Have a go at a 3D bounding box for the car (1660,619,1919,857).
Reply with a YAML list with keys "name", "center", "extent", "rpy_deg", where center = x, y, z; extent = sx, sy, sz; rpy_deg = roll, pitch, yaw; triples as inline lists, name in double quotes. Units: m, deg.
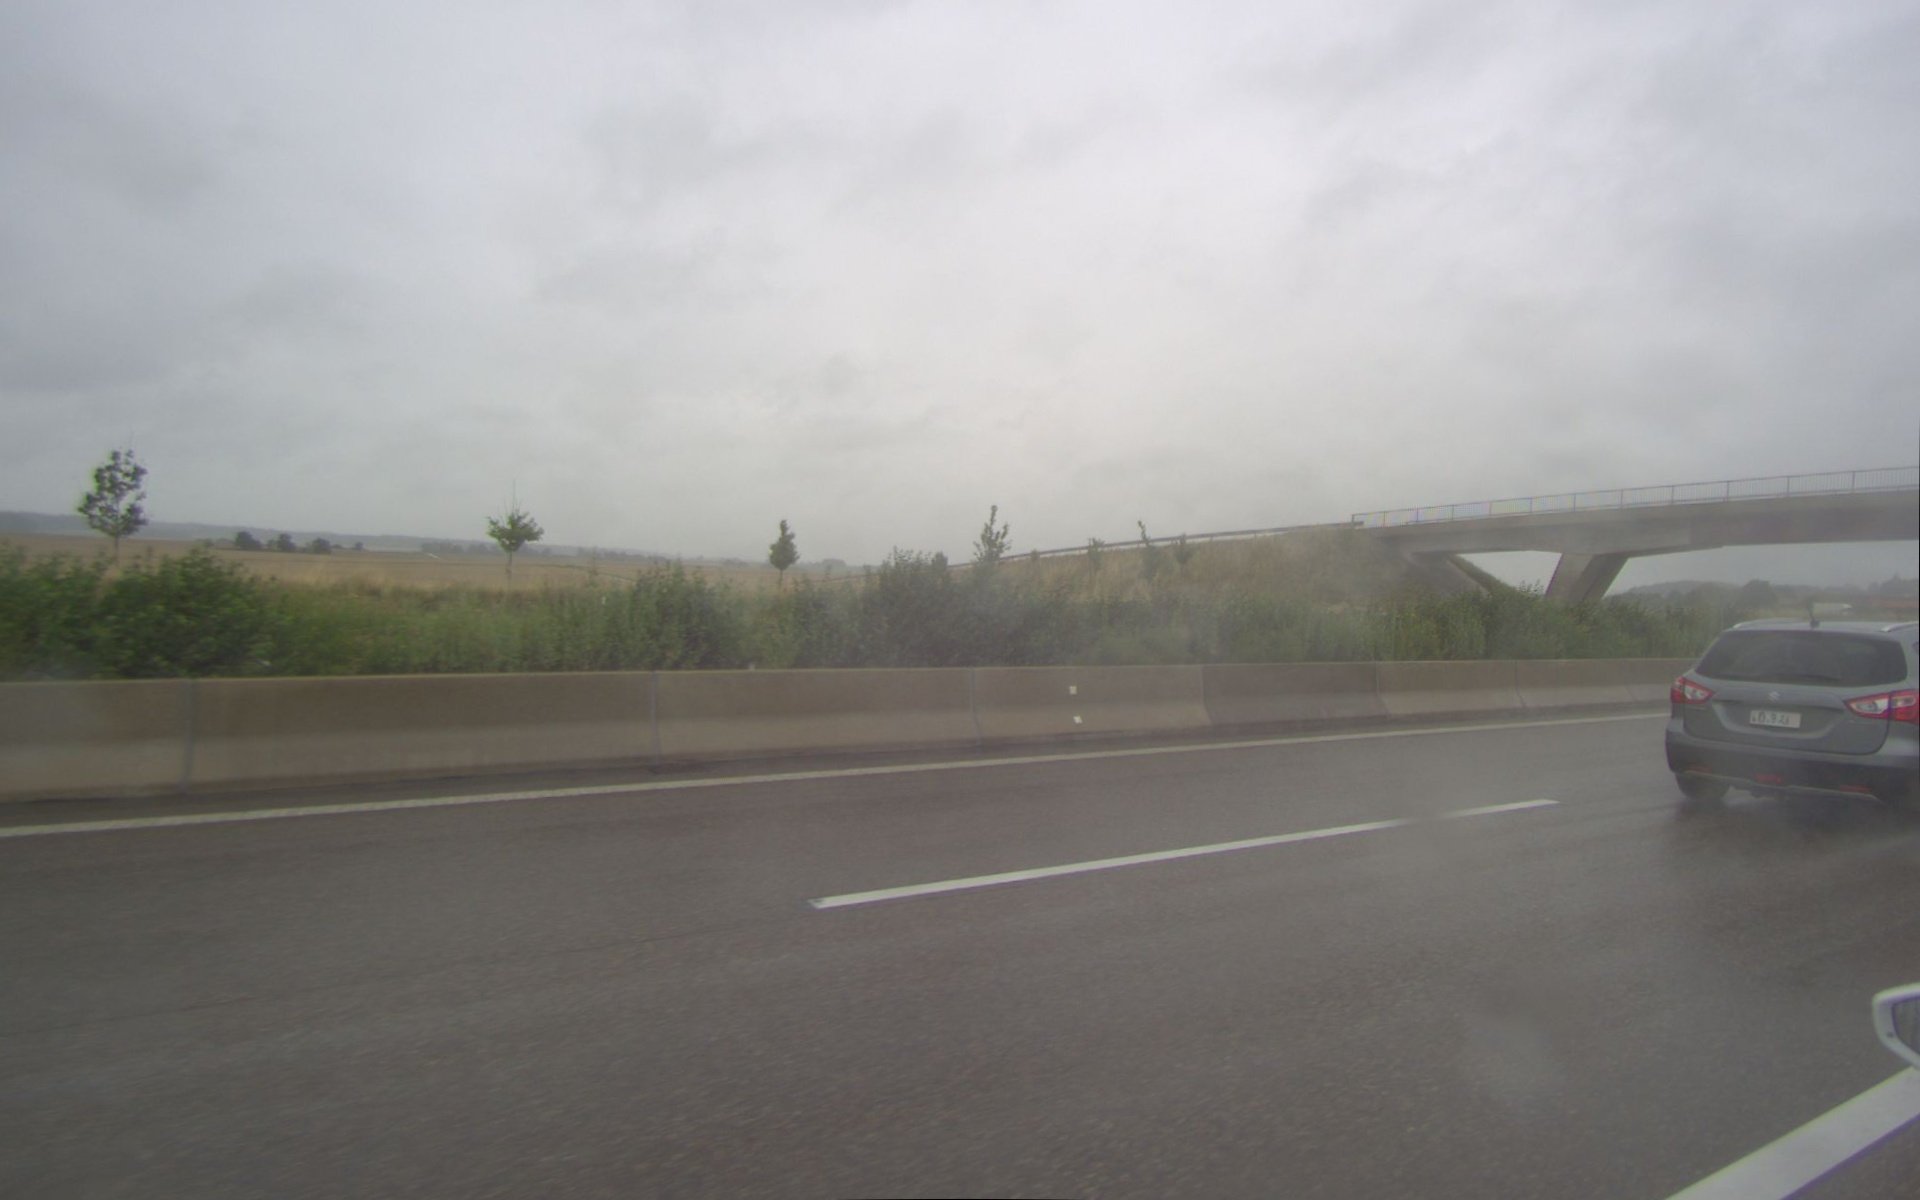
- name: "car"
  center: [8.041, 0.984, 8.563]
  extent: [4.707, 1.533, 1.835]
  rpy_deg: [1, 1, -34]
